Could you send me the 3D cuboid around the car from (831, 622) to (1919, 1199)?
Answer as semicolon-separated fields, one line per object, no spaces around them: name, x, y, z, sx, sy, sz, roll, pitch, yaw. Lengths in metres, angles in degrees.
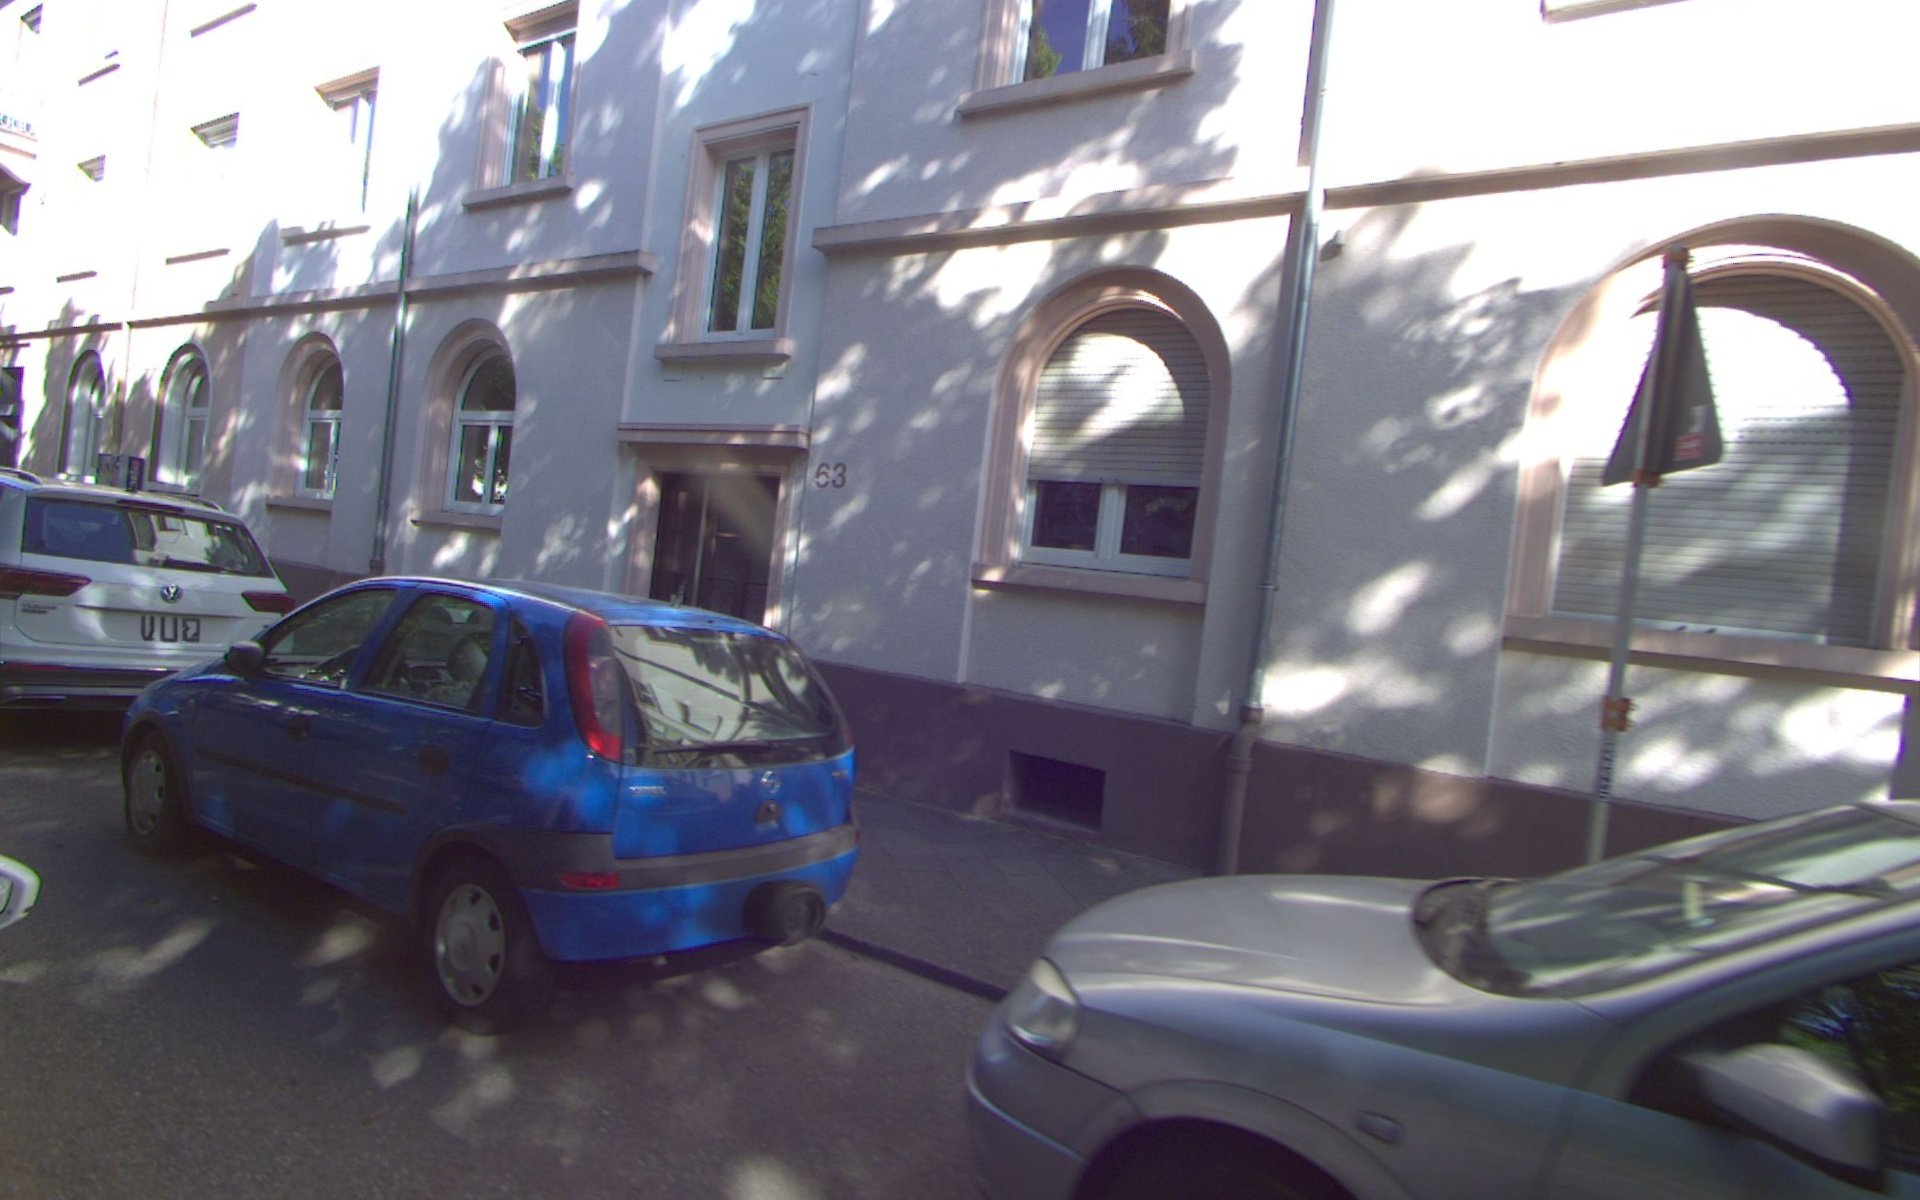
car;1.907;1.027;1.804;4.019;1.430;1.633;7;1;30

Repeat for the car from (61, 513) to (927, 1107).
car;-2.203;0.554;4.461;3.725;1.430;1.619;7;1;32

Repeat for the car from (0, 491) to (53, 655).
car;-11.116;-0.499;10.000;3.894;1.543;1.794;7;1;27

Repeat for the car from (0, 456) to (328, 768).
car;-6.762;-0.123;7.251;4.596;1.695;1.818;7;1;32
